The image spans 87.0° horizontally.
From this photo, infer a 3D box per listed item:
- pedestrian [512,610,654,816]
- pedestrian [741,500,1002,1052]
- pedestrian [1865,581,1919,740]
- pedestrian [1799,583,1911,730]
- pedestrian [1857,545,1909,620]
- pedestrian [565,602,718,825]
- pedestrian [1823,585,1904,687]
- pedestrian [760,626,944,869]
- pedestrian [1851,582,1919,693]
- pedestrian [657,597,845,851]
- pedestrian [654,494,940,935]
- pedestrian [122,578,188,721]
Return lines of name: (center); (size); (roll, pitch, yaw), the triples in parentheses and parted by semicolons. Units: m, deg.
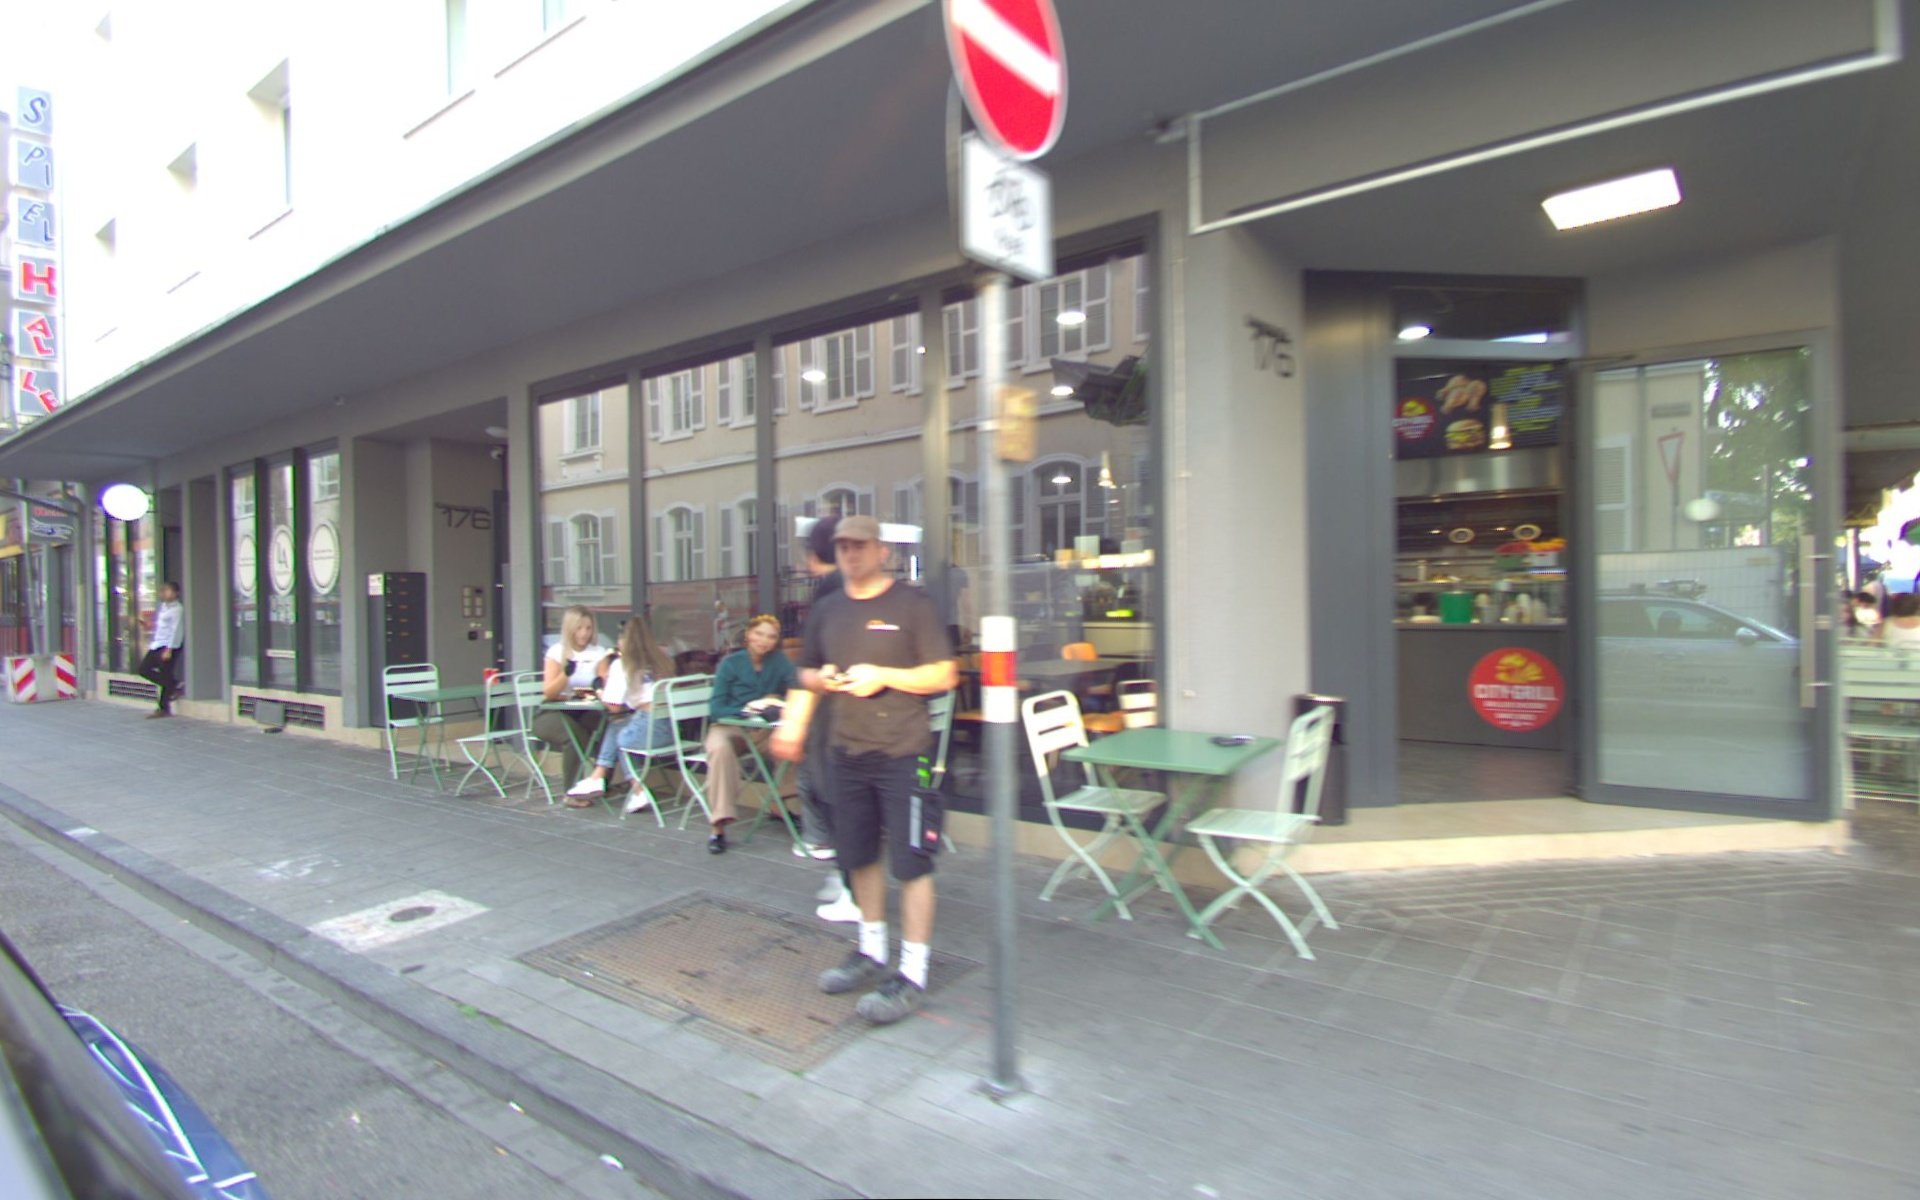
pedestrian: (-2.558, 0.731, 6.873); (0.712, 1.285, 0.567); (-2, 1, 38)
pedestrian: (-0.299, 0.534, 3.468); (0.685, 1.680, 0.501); (-1, 1, 33)
pedestrian: (8.008, 0.483, 8.372); (0.652, 1.269, 0.666); (-2, 1, 34)
pedestrian: (8.187, 0.500, 9.288); (0.652, 1.269, 0.666); (-2, 1, 34)
pedestrian: (20.545, -0.377, 22.544); (0.708, 1.619, 0.870); (-1, -1, 35)
pedestrian: (-2.006, 0.674, 6.371); (0.712, 1.285, 0.567); (-2, 1, 38)
pedestrian: (11.656, 0.453, 13.077); (0.652, 1.269, 0.666); (-2, 1, 34)
pedestrian: (-0.557, 0.712, 5.236); (0.712, 1.122, 0.567); (-2, 1, 38)
pedestrian: (11.190, 0.440, 12.134); (0.652, 1.269, 0.666); (-2, 1, 34)
pedestrian: (-1.169, 0.644, 5.693); (0.712, 1.285, 0.695); (-2, 1, 38)
pedestrian: (-0.707, 0.431, 4.439); (0.900, 1.680, 0.789); (-1, 1, 36)
pedestrian: (-10.707, 0.641, 13.467); (0.561, 1.848, 0.526); (-2, -1, 31)
